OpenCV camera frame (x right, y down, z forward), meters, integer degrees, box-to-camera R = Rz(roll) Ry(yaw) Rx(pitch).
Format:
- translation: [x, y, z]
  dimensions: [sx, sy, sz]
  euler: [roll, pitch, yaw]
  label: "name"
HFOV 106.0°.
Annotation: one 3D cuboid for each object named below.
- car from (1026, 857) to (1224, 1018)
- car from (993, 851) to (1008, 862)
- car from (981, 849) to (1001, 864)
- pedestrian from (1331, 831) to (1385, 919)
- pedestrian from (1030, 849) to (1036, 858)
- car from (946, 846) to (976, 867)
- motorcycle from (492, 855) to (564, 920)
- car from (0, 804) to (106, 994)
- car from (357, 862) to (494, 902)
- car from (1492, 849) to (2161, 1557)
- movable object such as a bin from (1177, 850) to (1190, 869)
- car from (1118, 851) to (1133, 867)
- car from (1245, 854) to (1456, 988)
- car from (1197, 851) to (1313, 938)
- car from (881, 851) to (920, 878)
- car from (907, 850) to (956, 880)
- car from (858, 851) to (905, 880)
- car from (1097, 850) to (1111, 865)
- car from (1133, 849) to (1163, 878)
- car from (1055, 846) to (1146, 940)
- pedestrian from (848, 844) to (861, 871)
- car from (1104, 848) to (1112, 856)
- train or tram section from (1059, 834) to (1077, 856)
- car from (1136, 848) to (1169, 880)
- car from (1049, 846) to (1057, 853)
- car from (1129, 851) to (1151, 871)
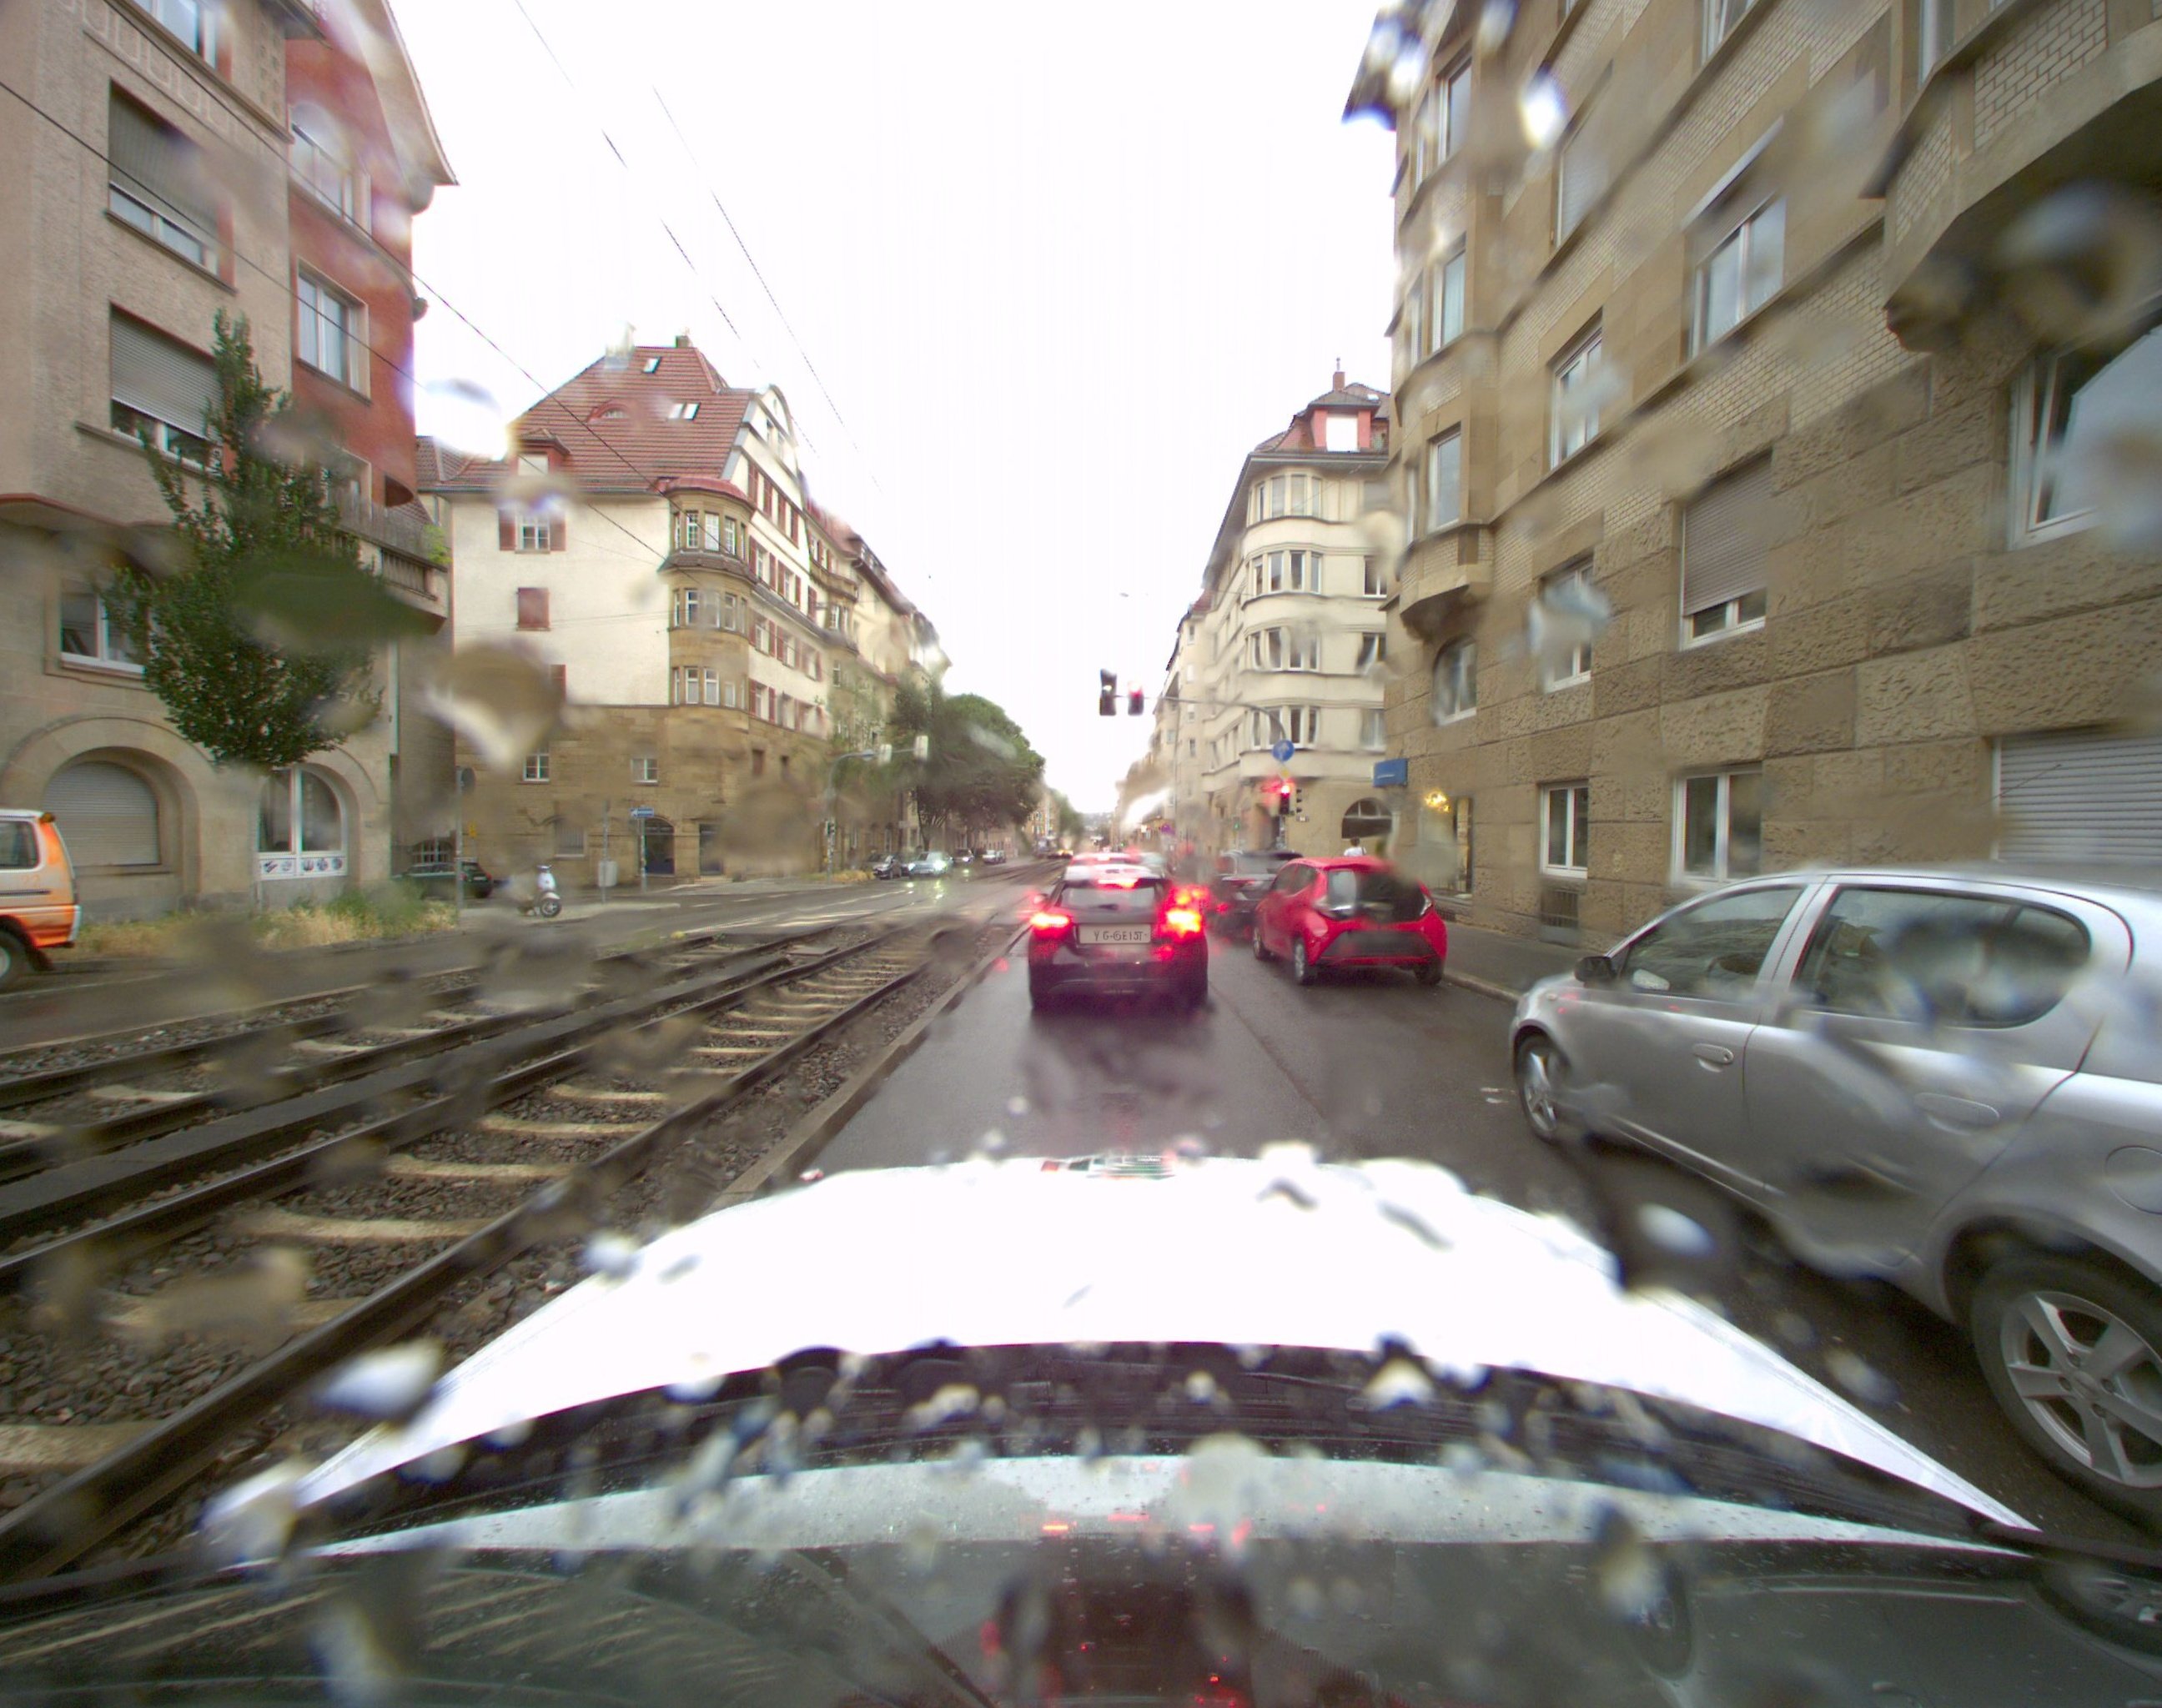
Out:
- translation: [0.470, 0.779, 9.557]
  dimensions: [1.822, 1.458, 4.105]
  euler: [0, 0, 2]
  label: "car"
- translation: [-9.790, 0.309, 99.007]
  dimensions: [1.443, 1.331, 3.271]
  euler: [0, -1, 0]
  label: "car"
- translation: [-9.861, 0.320, 89.591]
  dimensions: [1.583, 1.581, 3.920]
  euler: [0, -1, 2]
  label: "car"
- translation: [5.693, 0.424, 16.801]
  dimensions: [0.739, 1.748, 1.111]
  euler: [0, -1, 2]
  label: "pedestrian"
- translation: [-10.681, -0.192, 181.490]
  dimensions: [1.049, 1.957, 1.043]
  euler: [1, 0, 3]
  label: "pedestrian"
- translation: [-10.591, 0.224, 72.134]
  dimensions: [1.868, 1.737, 3.920]
  euler: [0, -1, 2]
  label: "car"
- translation: [-12.063, 0.709, 17.760]
  dimensions: [1.577, 1.365, 0.628]
  euler: [-1, -1, 28]
  label: "motorcycle"
- translation: [-12.119, 0.465, 7.204]
  dimensions: [1.725, 1.975, 4.341]
  euler: [0, -1, 0]
  label: "car"
- translation: [-24.380, 1.011, 30.403]
  dimensions: [3.633, 1.404, 1.699]
  euler: [0, -1, -3]
  label: "car"
- translation: [3.150, 0.737, 3.093]
  dimensions: [1.608, 1.467, 3.314]
  euler: [-2, 0, 3]
  label: "car"
- translation: [7.479, 0.430, 59.549]
  dimensions: [0.873, 1.389, 0.984]
  euler: [0, -1, 5]
  label: "movable object such as a bin"
- translation: [4.031, 0.414, 73.667]
  dimensions: [1.289, 1.442, 2.930]
  euler: [0, 0, 2]
  label: "car"
- translation: [3.281, 0.732, 10.559]
  dimensions: [1.637, 1.448, 3.298]
  euler: [0, 0, -1]
  label: "car"
- translation: [3.247, 0.688, 15.803]
  dimensions: [1.539, 1.486, 3.831]
  euler: [0, 0, 2]
  label: "car"
- translation: [-11.281, 0.651, 51.146]
  dimensions: [1.713, 1.611, 3.914]
  euler: [0, -1, -3]
  label: "car"
- translation: [-8.265, 0.585, 45.425]
  dimensions: [1.891, 1.588, 3.974]
  euler: [0, -1, 2]
  label: "car"
- translation: [-11.250, 0.644, 46.111]
  dimensions: [1.747, 1.552, 4.033]
  euler: [0, -1, -2]
  label: "car"
- translation: [2.543, 0.345, 89.089]
  dimensions: [1.539, 1.636, 3.687]
  euler: [0, 0, 2]
  label: "car"
- translation: [3.847, 0.531, 47.169]
  dimensions: [1.539, 1.590, 3.549]
  euler: [0, 0, 2]
  label: "car"
- translation: [0.396, 0.698, 15.953]
  dimensions: [1.559, 1.609, 3.815]
  euler: [0, -1, 2]
  label: "car"
- translation: [-13.900, 0.208, 50.013]
  dimensions: [0.630, 1.672, 0.701]
  euler: [0, -1, -7]
  label: "pedestrian"
- translation: [6.676, -0.568, 199.765]
  dimensions: [1.986, 1.876, 4.001]
  euler: [0, -1, 2]
  label: "car"
- translation: [-2.380, -1.594, 150.037]
  dimensions: [2.772, 3.861, 10.433]
  euler: [0, -1, 2]
  label: "train or tram section"
- translation: [3.706, 0.486, 42.695]
  dimensions: [1.539, 1.590, 3.549]
  euler: [0, 0, 2]
  label: "car"
- translation: [-5.220, -0.861, 152.576]
  dimensions: [1.372, 1.249, 3.297]
  euler: [0, -1, 0]
  label: "car"
- translation: [4.421, 0.537, 61.576]
  dimensions: [1.539, 1.486, 3.549]
  euler: [0, 0, 2]
  label: "car"
